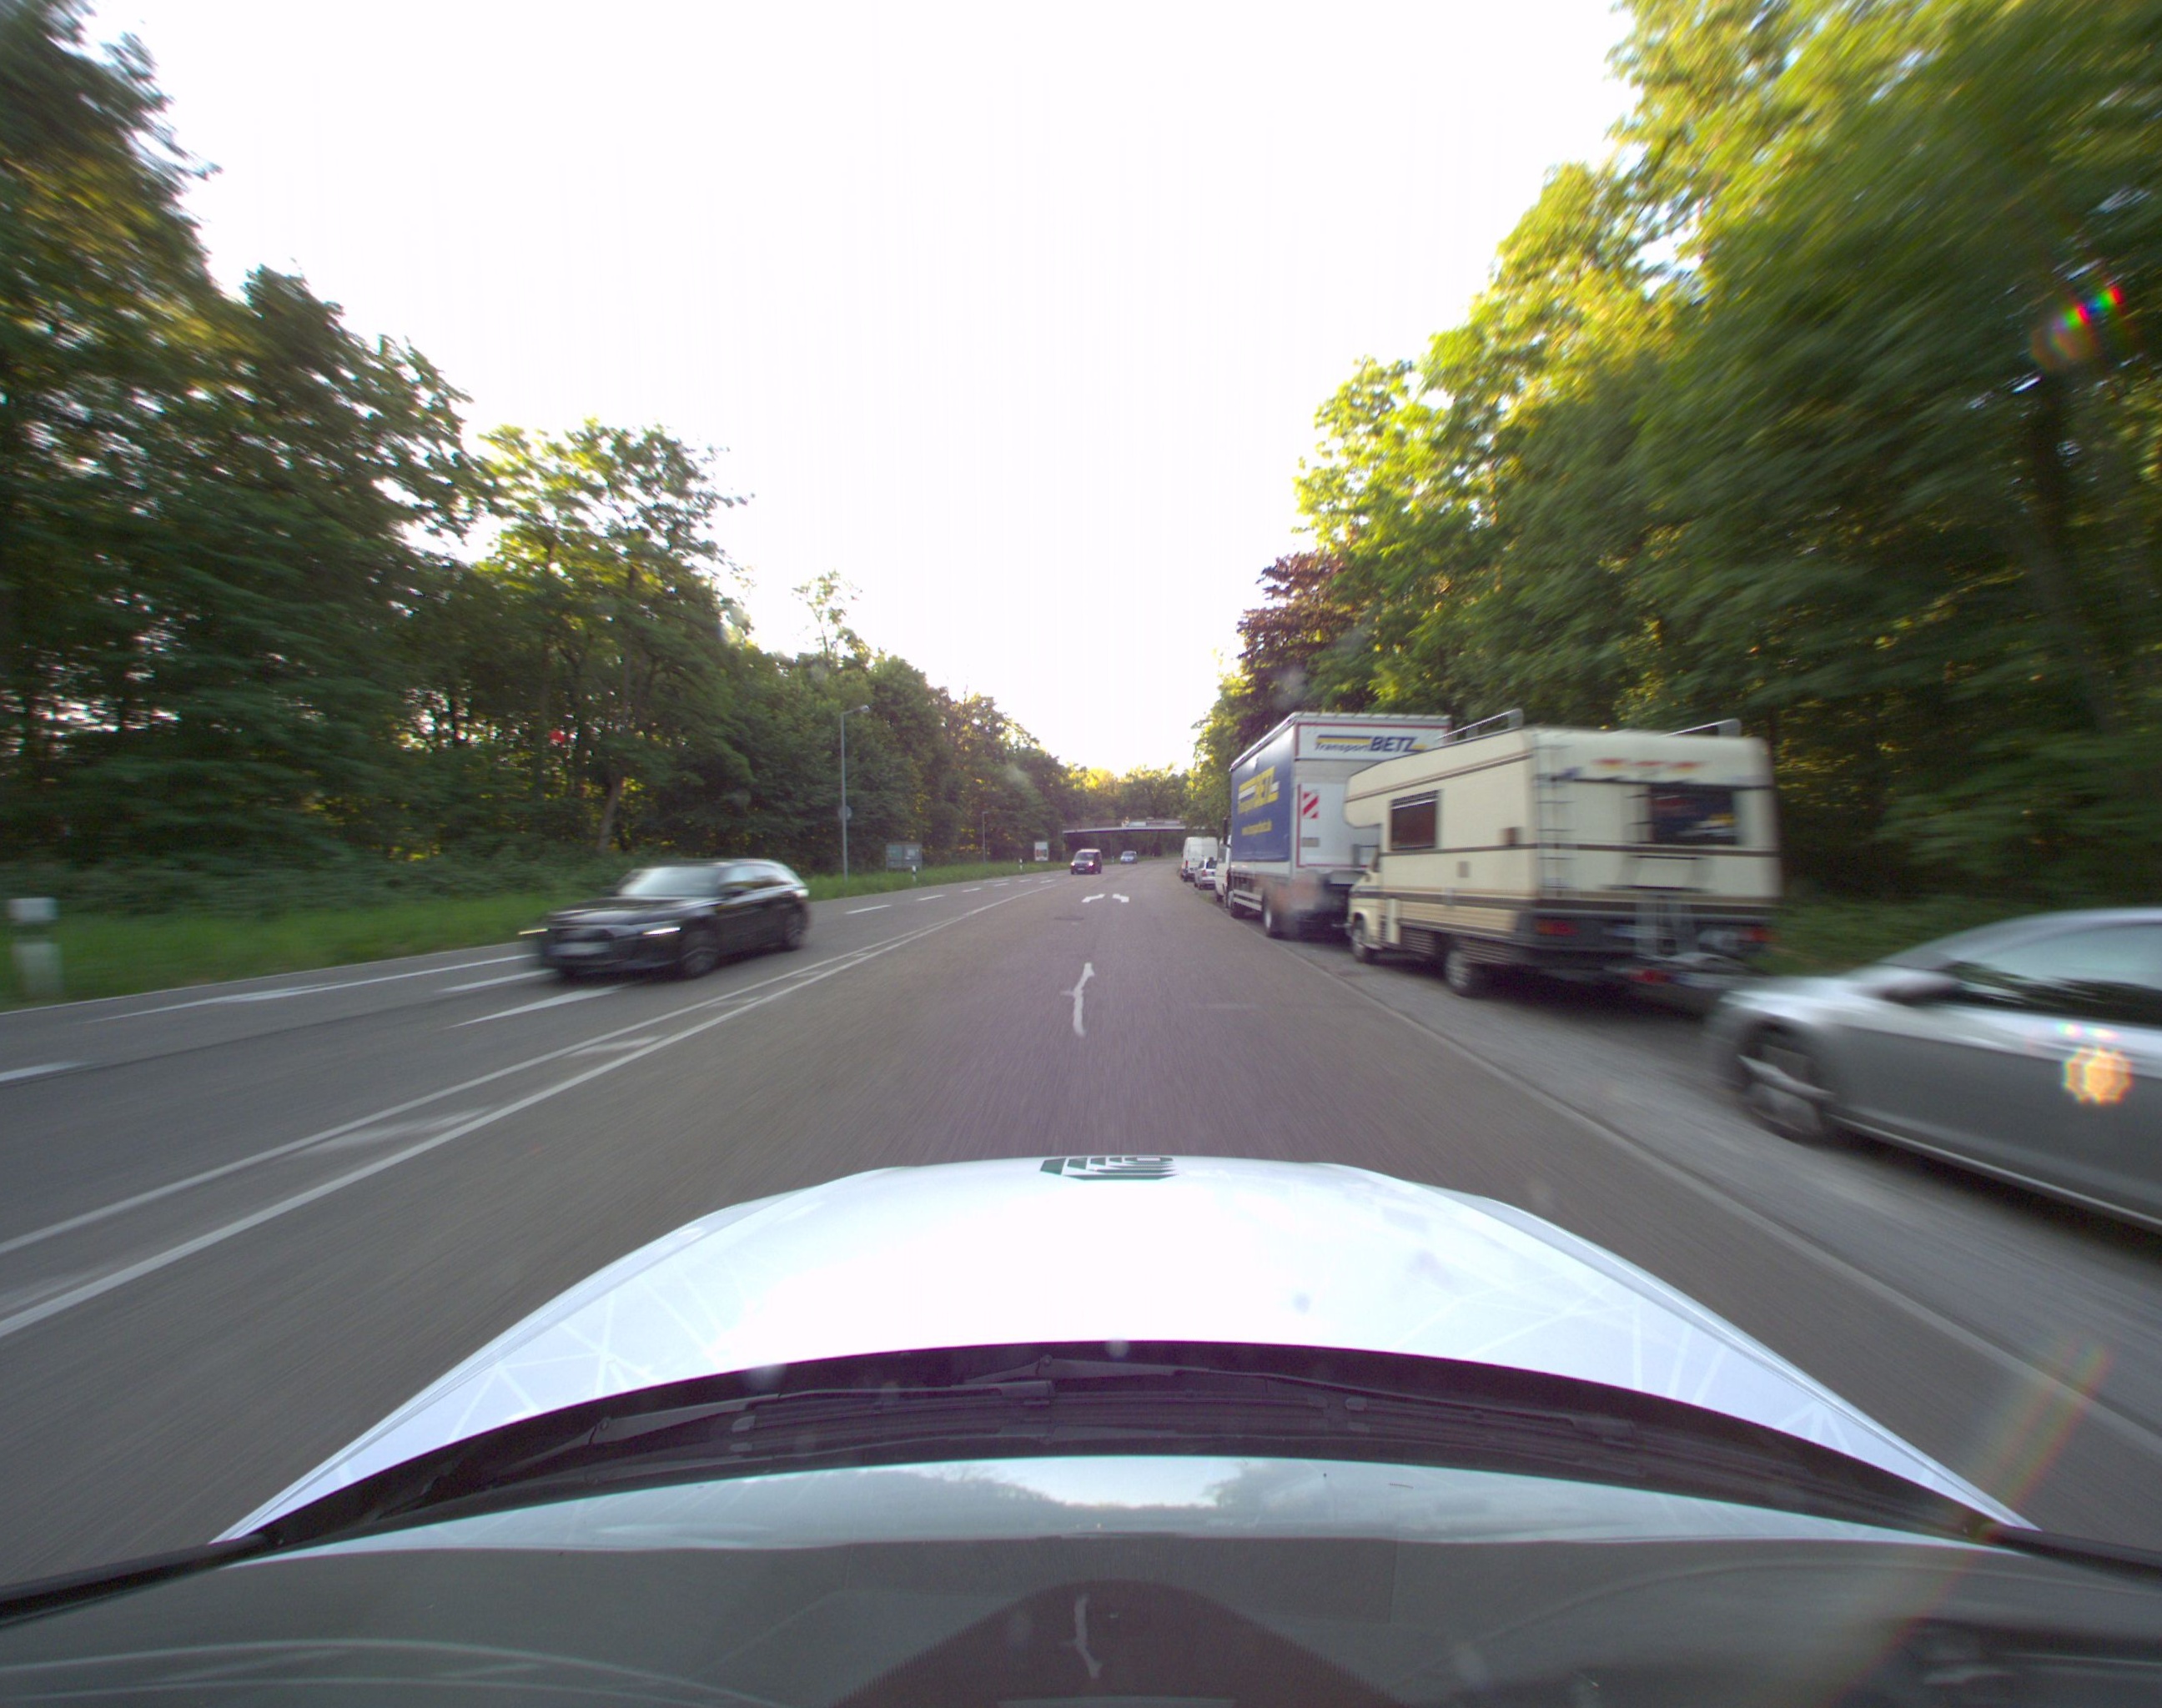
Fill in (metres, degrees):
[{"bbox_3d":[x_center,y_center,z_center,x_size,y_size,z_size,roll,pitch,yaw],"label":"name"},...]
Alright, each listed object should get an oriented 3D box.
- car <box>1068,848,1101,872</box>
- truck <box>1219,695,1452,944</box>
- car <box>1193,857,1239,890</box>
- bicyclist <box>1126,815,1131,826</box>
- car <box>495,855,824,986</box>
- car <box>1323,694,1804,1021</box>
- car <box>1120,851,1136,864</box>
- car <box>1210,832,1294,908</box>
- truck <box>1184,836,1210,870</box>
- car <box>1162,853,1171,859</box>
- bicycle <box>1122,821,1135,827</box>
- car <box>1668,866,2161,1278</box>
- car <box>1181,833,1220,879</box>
[{"bbox_3d":[0.321,0.452,62.327,1.833,1.800,4.758,0,0,8],"label":"car"},{"bbox_3d":[4.945,-0.566,18.103,2.646,4.027,9.730,0,0,3],"label":"truck"},{"bbox_3d":[6.202,0.856,37.765,1.676,1.373,4.275,2,0,4],"label":"car"},{"bbox_3d":[7.246,-5.116,124.177,0.660,1.581,0.549,0,0,10],"label":"bicyclist"},{"bbox_3d":[-5.520,0.748,11.571,1.883,1.440,4.775,0,0,4],"label":"car"},{"bbox_3d":[5.129,0.036,10.115,2.401,2.858,5.929,0,0,-1],"label":"car"},{"bbox_3d":[6.400,0.468,110.506,1.833,1.735,4.009,0,0,8],"label":"car"},{"bbox_3d":[5.505,0.473,26.811,1.985,2.189,4.933,2,0,4],"label":"car"},{"bbox_3d":[9.695,-0.082,68.132,1.982,2.717,6.631,1,0,8],"label":"truck"},{"bbox_3d":[19.560,0.458,186.549,1.881,1.447,4.119,-1,0,8],"label":"car"},{"bbox_3d":[7.263,-4.611,124.161,1.833,0.949,0.552,0,0,10],"label":"bicycle"},{"bbox_3d":[4.767,0.814,3.371,1.693,1.406,4.075,-2,0,0],"label":"car"},{"bbox_3d":[7.011,0.098,48.309,1.954,2.512,6.024,2,0,5],"label":"car"}]
